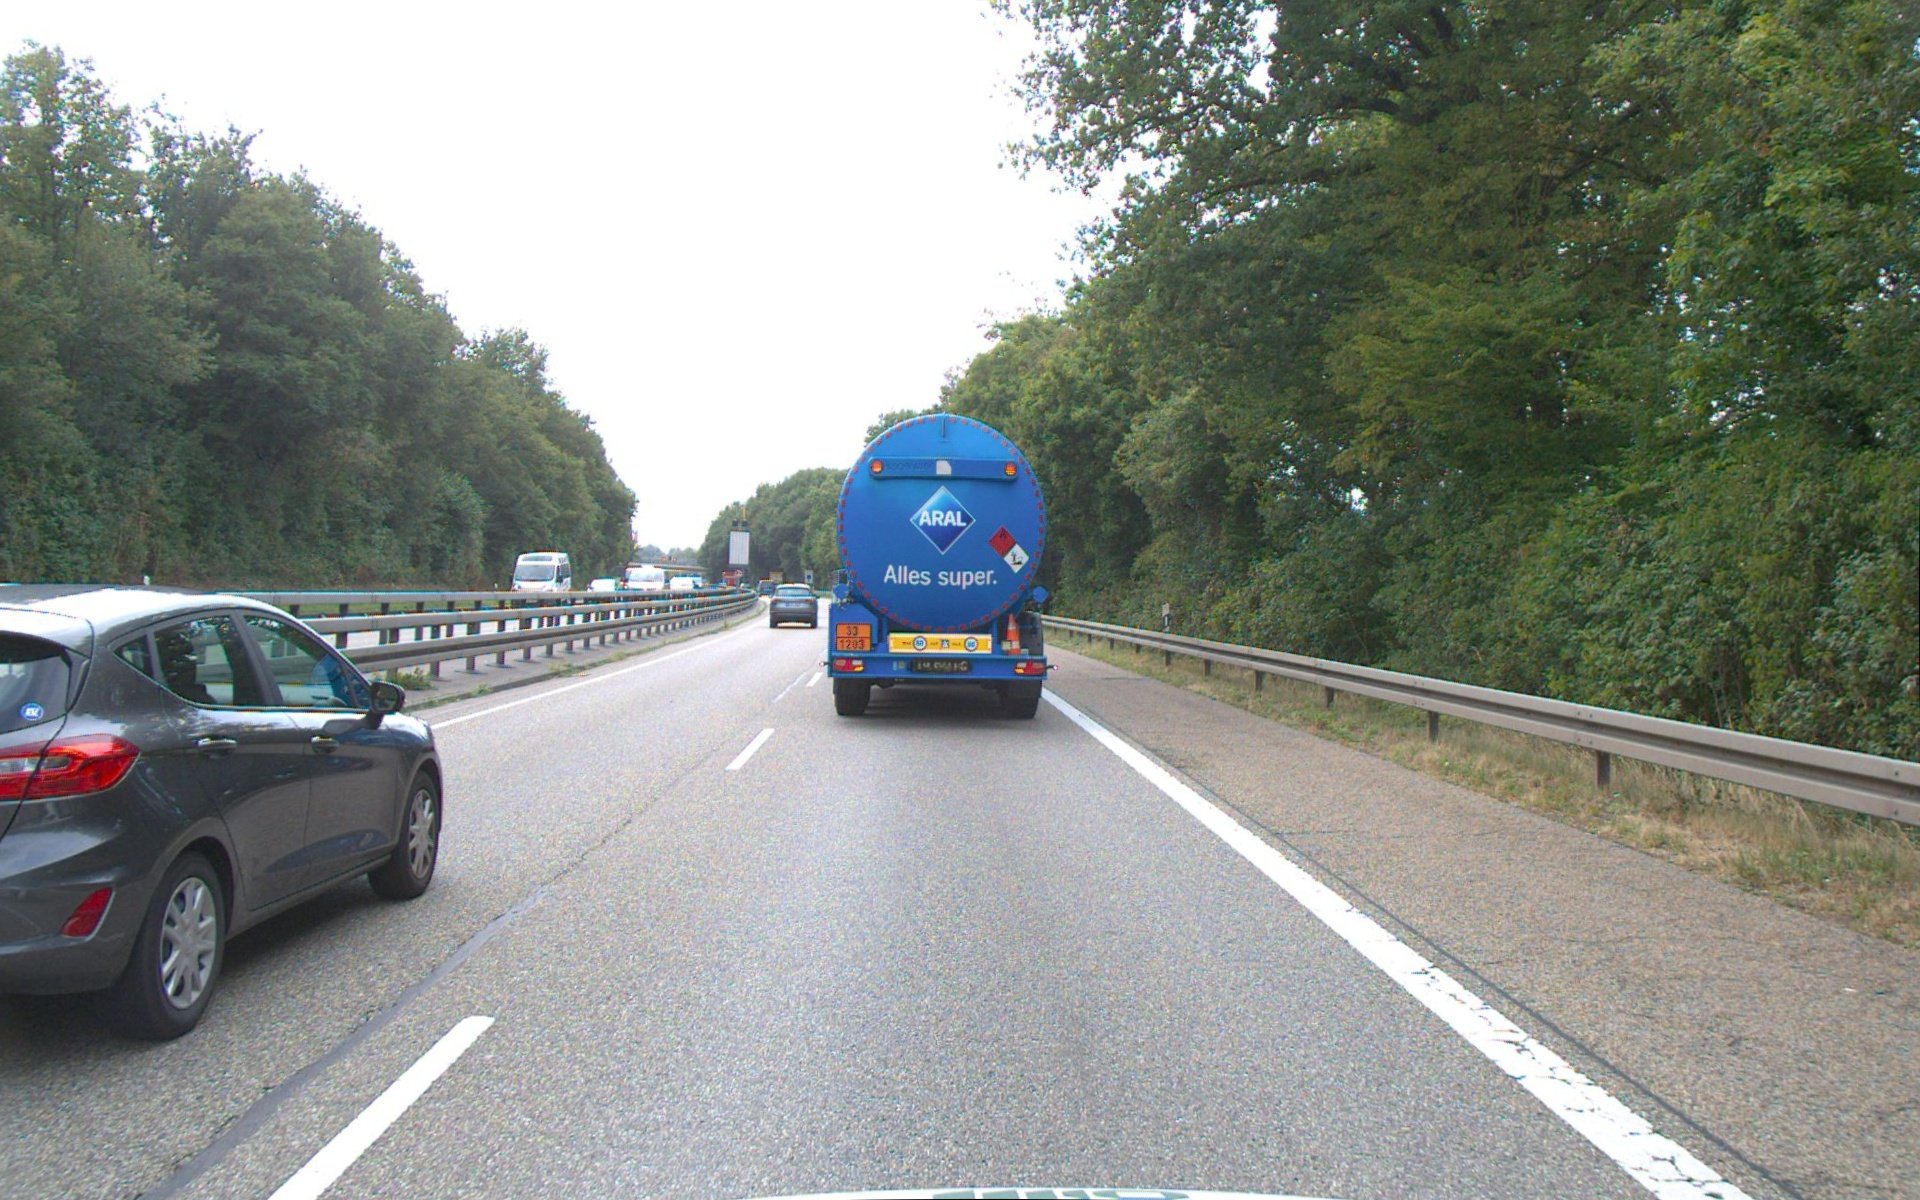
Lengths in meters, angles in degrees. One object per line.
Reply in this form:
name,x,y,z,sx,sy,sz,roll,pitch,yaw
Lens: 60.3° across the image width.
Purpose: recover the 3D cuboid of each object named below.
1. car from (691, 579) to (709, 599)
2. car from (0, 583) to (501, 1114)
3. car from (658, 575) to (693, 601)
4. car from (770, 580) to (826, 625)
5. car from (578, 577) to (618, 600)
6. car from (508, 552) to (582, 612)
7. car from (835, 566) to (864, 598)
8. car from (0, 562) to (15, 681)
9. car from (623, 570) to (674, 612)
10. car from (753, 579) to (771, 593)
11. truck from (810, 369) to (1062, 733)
car,-30.381,-1.260,193.219,1.900,2.362,5.292,0,0,-10
car,-3.346,0.688,6.898,1.790,1.483,4.637,0,0,-3
car,-17.729,-0.715,103.191,1.746,1.590,4.012,0,0,-3
car,-6.058,0.081,62.292,1.789,1.637,4.166,0,0,-1
car,-21.392,-0.675,97.839,1.739,1.319,4.104,0,0,-4
car,-19.052,-0.797,76.188,2.266,2.656,5.549,0,0,-3
car,-8.101,-1.283,121.552,1.953,2.284,3.999,0,0,-2
car,-11.270,0.234,16.003,1.621,1.300,4.712,0,0,-1
car,-15.281,-0.435,81.234,1.785,2.018,5.054,0,0,-3
car,-23.719,-1.690,198.226,1.957,1.579,3.991,0,0,-9
truck,-0.213,-0.556,21.675,2.698,3.914,7.689,0,0,1
